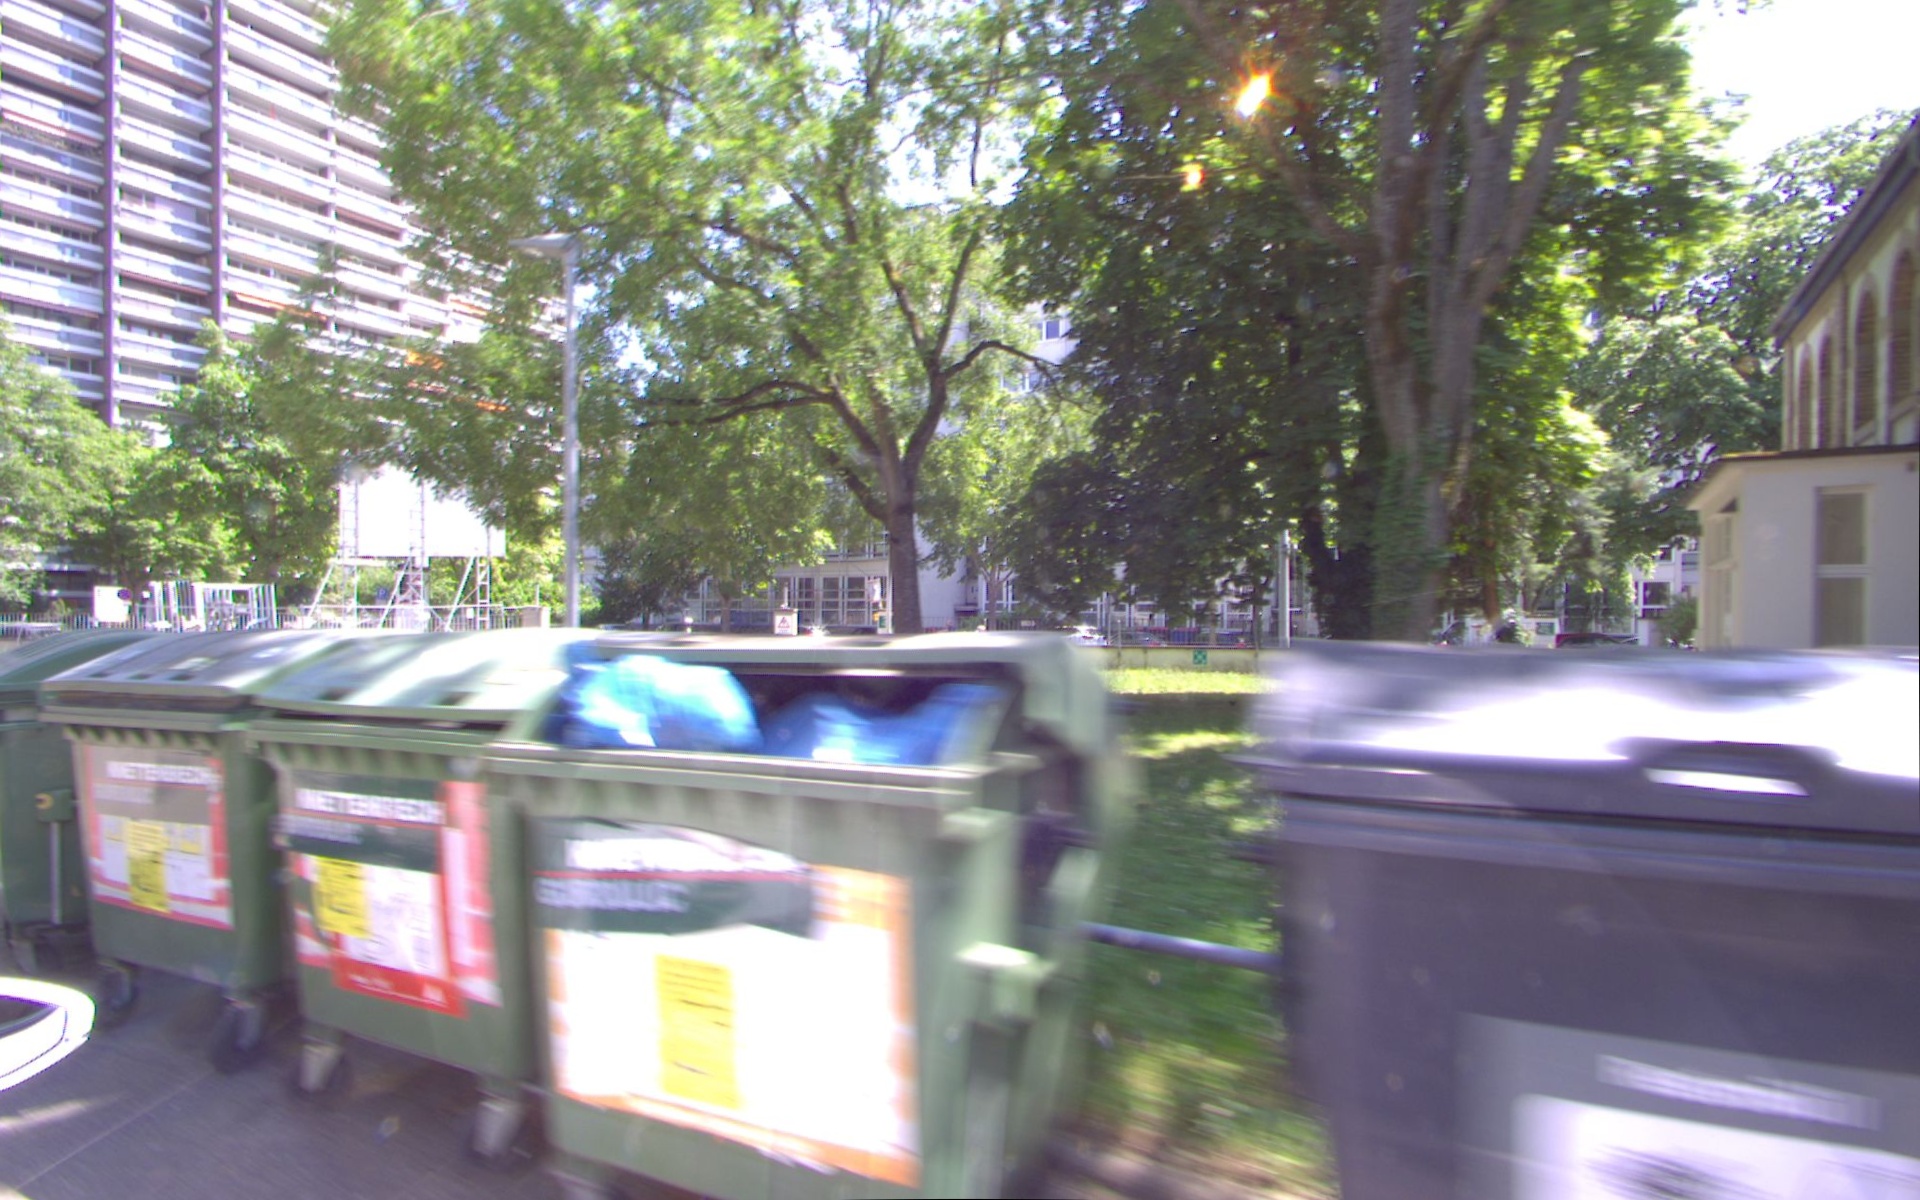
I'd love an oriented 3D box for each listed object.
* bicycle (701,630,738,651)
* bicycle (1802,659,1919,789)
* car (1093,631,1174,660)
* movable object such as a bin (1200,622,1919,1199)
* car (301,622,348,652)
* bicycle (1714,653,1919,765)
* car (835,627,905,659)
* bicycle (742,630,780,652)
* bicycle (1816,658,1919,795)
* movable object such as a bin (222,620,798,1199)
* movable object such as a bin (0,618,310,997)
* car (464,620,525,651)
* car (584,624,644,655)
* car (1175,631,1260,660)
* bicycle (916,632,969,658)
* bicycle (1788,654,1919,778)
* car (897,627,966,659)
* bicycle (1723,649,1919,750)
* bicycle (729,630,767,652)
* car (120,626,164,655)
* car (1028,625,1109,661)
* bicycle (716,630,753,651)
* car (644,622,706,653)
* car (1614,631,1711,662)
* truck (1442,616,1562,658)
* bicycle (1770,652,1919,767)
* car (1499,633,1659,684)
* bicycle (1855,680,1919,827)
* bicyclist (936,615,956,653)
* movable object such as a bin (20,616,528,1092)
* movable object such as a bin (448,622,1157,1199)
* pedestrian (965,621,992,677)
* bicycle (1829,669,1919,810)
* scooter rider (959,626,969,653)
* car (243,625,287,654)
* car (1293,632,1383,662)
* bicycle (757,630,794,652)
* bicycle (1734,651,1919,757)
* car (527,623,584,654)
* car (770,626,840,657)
[{"bbox_3d":[-13.897,2.352,57.973,0.770,1.172,2.376,0,-1,27],"label":"bicycle"},{"bbox_3d":[9.087,1.160,9.338,1.816,1.157,0.586,0,-1,33],"label":"bicycle"},{"bbox_3d":[8.230,2.164,47.795,1.593,1.297,3.716,1,-2,-38],"label":"car"},{"bbox_3d":[1.229,0.805,1.688,1.438,1.524,1.156,-1,-1,23],"label":"movable object such as a bin"},{"bbox_3d":[-31.758,1.829,50.008,1.619,1.405,3.649,1,-1,-38],"label":"car"},{"bbox_3d":[9.927,1.226,11.665,1.818,1.157,0.586,0,-1,38],"label":"bicycle"},{"bbox_3d":[-4.409,2.050,48.685,1.595,1.463,3.645,1,-2,-41],"label":"car"},{"bbox_3d":[-11.224,2.316,56.580,0.770,1.172,2.376,0,-1,27],"label":"bicycle"},{"bbox_3d":[8.763,1.121,8.792,1.816,1.157,0.586,0,-1,33],"label":"bicycle"},{"bbox_3d":[-1.405,0.823,3.272,1.291,1.488,1.178,-1,-2,28],"label":"movable object such as a bin"},{"bbox_3d":[-3.946,0.845,4.747,1.319,1.488,1.173,-2,-2,43],"label":"movable object such as a bin"},{"bbox_3d":[-22.681,1.708,48.721,1.622,1.482,3.642,1,-2,-44],"label":"car"},{"bbox_3d":[-17.116,1.906,49.462,1.620,1.482,3.648,1,-1,-39],"label":"car"},{"bbox_3d":[12.037,2.108,47.011,1.593,1.322,3.717,1,-1,-37],"label":"car"},{"bbox_3d":[-0.786,2.009,45.030,2.392,1.167,0.786,0,0,-1],"label":"bicycle"},{"bbox_3d":[9.409,1.141,9.899,1.816,1.157,0.586,0,-1,33],"label":"bicycle"},{"bbox_3d":[-1.411,2.064,48.705,1.593,1.455,3.575,1,-1,-38],"label":"car"},{"bbox_3d":[10.892,1.227,12.756,1.816,1.157,0.586,0,-1,33],"label":"bicycle"},{"bbox_3d":[-12.054,2.317,57.037,0.770,1.172,2.376,0,-1,27],"label":"bicycle"},{"bbox_3d":[-40.827,1.984,50.043,1.619,1.405,3.649,1,-1,-38],"label":"car"},{"bbox_3d":[5.167,2.031,47.981,1.597,1.641,3.708,1,-1,-44],"label":"car"},{"bbox_3d":[-12.952,2.342,57.589,0.770,1.172,2.376,0,-1,27],"label":"bicycle"},{"bbox_3d":[-14.050,1.828,49.251,1.620,1.482,3.648,1,-1,-39],"label":"car"},{"bbox_3d":[31.629,2.063,45.151,1.478,1.307,3.320,1,-1,-33],"label":"car"},{"bbox_3d":[24.915,1.695,46.156,1.640,1.856,4.600,1,-2,-43],"label":"truck"},{"bbox_3d":[9.948,1.170,10.800,1.816,1.157,0.586,0,-1,33],"label":"bicycle"},{"bbox_3d":[19.134,1.782,31.071,3.860,1.483,1.706,0,-1,4],"label":"car"},{"bbox_3d":[7.944,1.182,7.479,1.809,1.084,0.520,0,-1,33],"label":"bicycle"},{"bbox_3d":[-0.648,1.531,45.033,0.883,1.687,0.859,0,-1,-1],"label":"bicyclist"},{"bbox_3d":[-2.649,0.824,3.960,1.290,1.488,1.179,-1,-1,26],"label":"movable object such as a bin"},{"bbox_3d":[-0.299,0.809,2.464,1.290,1.488,1.179,-1,-1,25],"label":"movable object such as a bin"},{"bbox_3d":[0.543,1.432,29.115,0.718,1.609,0.741,0,-3,4],"label":"pedestrian"},{"bbox_3d":[8.320,1.159,8.152,1.816,1.114,0.520,0,-1,33],"label":"bicycle"},{"bbox_3d":[0.183,1.742,44.212,0.409,1.148,0.359,0,-1,-1],"label":"scooter rider"},{"bbox_3d":[-35.065,1.955,50.466,1.619,1.405,3.649,1,-1,-38],"label":"car"},{"bbox_3d":[17.908,2.205,47.533,3.706,1.307,1.598,-1,-2,44],"label":"car"},{"bbox_3d":[-10.319,2.304,56.137,0.770,1.203,2.423,0,-1,27],"label":"bicycle"},{"bbox_3d":[10.539,1.226,12.098,1.816,1.157,0.586,0,-1,33],"label":"bicycle"},{"bbox_3d":[-19.933,1.876,49.261,1.620,1.482,3.648,1,-1,-39],"label":"car"},{"bbox_3d":[-7.631,2.008,49.101,1.629,1.482,3.641,1,-2,-44],"label":"car"}]
